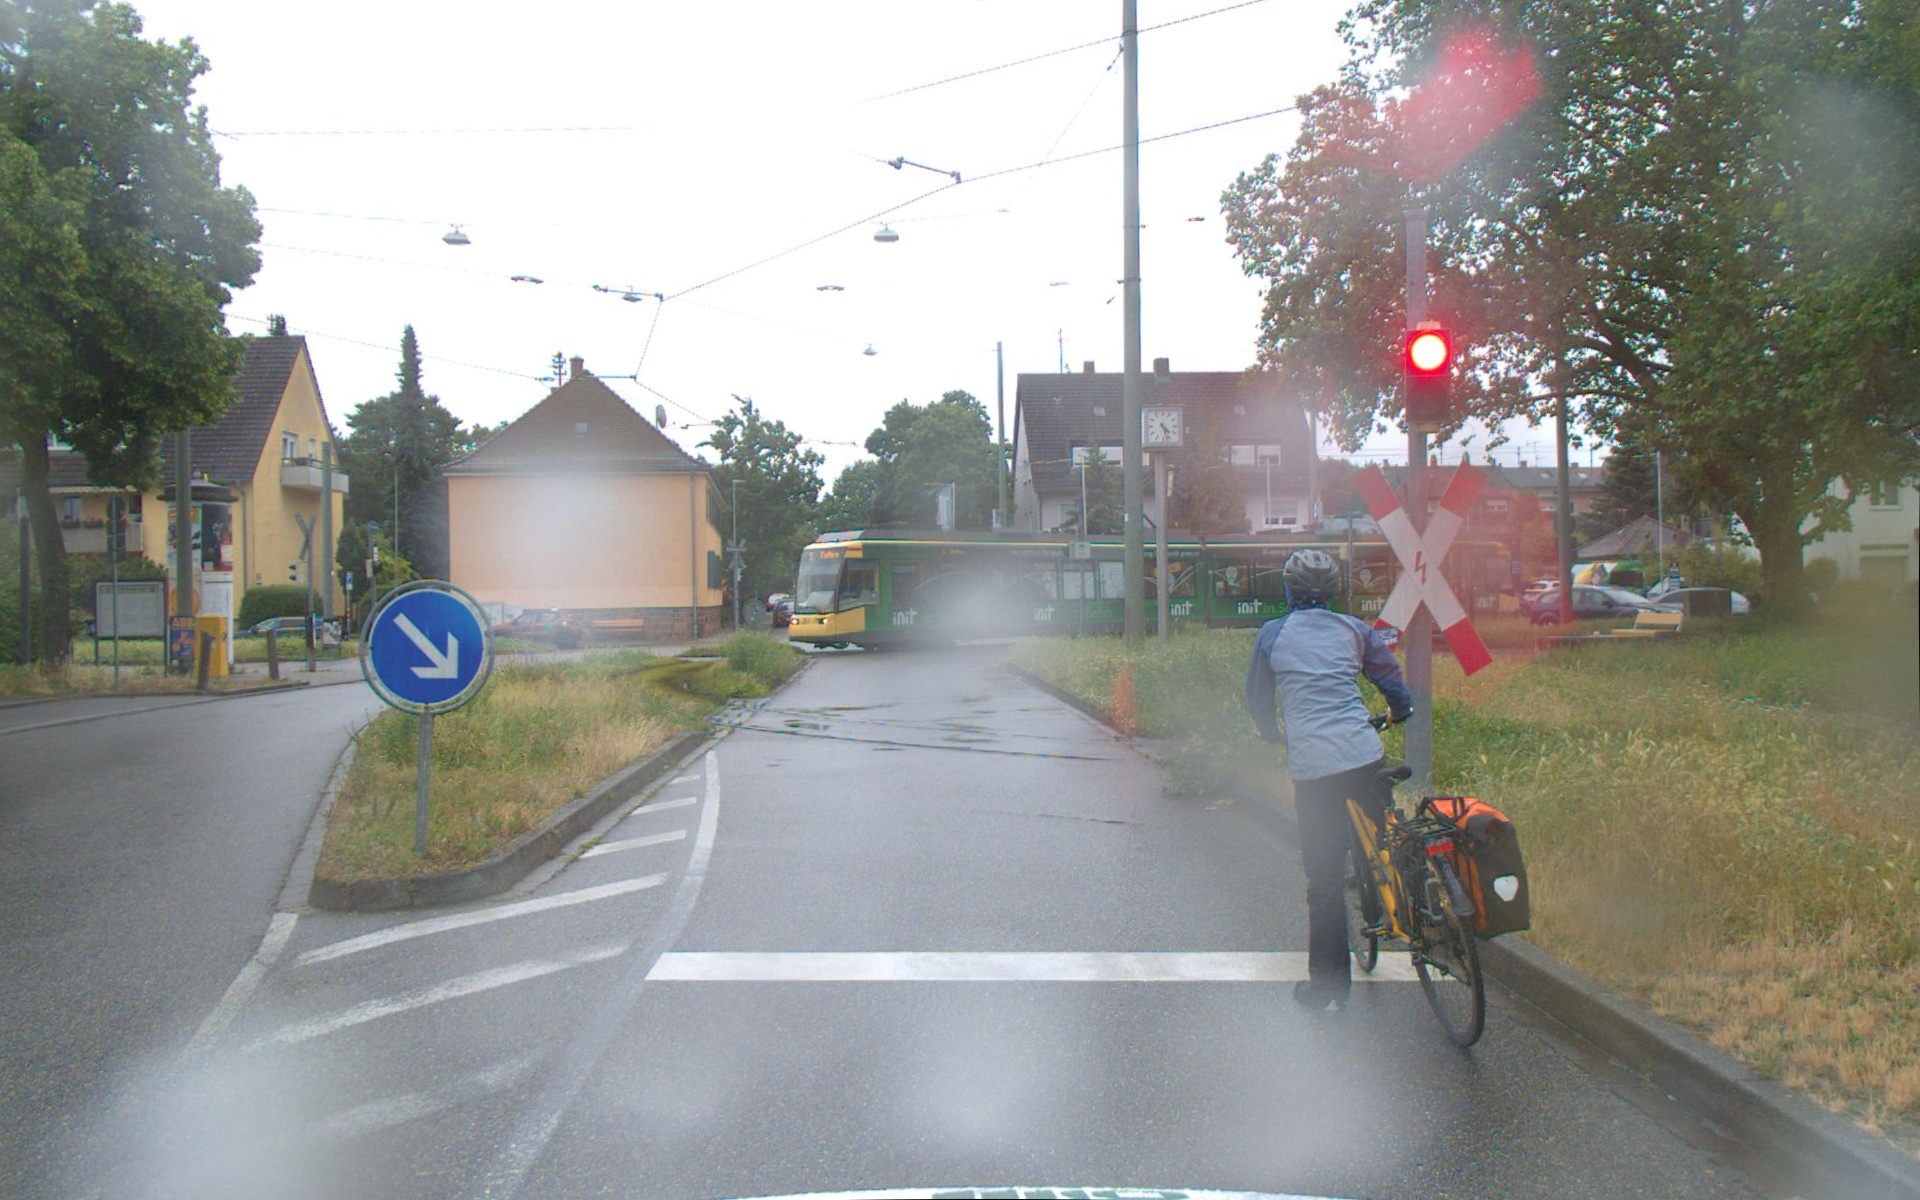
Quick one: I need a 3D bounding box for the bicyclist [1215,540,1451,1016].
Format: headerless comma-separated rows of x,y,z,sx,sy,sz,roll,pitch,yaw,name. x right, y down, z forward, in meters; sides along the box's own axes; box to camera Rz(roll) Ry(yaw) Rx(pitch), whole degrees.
1.371,0.625,6.213,0.653,1.654,0.852,1,-1,-2,bicyclist

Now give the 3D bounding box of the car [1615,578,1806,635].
18.471,0.158,40.862,3.902,1.308,1.847,1,0,6,car

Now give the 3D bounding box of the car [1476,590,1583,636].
22.612,0.520,65.743,3.609,1.731,1.890,1,-1,0,car

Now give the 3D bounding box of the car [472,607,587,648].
-16.183,1.030,62.330,3.911,1.482,1.831,1,0,-7,car

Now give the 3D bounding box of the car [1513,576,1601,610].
31.068,-0.342,86.074,3.905,1.668,1.846,1,-1,-1,car

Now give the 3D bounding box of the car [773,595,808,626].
-9.790,0.601,95.546,1.768,1.680,3.998,1,0,-3,car

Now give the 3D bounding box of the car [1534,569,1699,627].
18.019,-0.065,45.498,3.848,1.522,1.798,1,-1,43,car

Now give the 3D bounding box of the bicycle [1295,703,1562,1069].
1.652,0.953,6.077,0.437,1.022,1.727,-1,0,-2,bicycle

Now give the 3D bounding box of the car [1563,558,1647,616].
28.827,-0.552,74.027,1.953,2.485,4.352,1,0,-2,car

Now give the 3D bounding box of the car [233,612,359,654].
-24.438,1.212,60.959,3.911,1.482,1.831,1,0,-7,car

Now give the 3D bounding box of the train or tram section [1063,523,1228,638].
6.128,-0.595,54.524,4.939,3.615,2.731,1,0,-39,train or tram section

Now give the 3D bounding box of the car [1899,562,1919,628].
28.141,-0.105,45.529,3.703,1.829,1.798,1,-1,43,car

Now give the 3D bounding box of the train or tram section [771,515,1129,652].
0.053,-0.532,48.896,12.109,3.615,2.725,-1,1,-44,train or tram section

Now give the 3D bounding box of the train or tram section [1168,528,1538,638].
13.705,-0.577,57.514,12.876,3.615,2.758,0,0,-16,train or tram section
